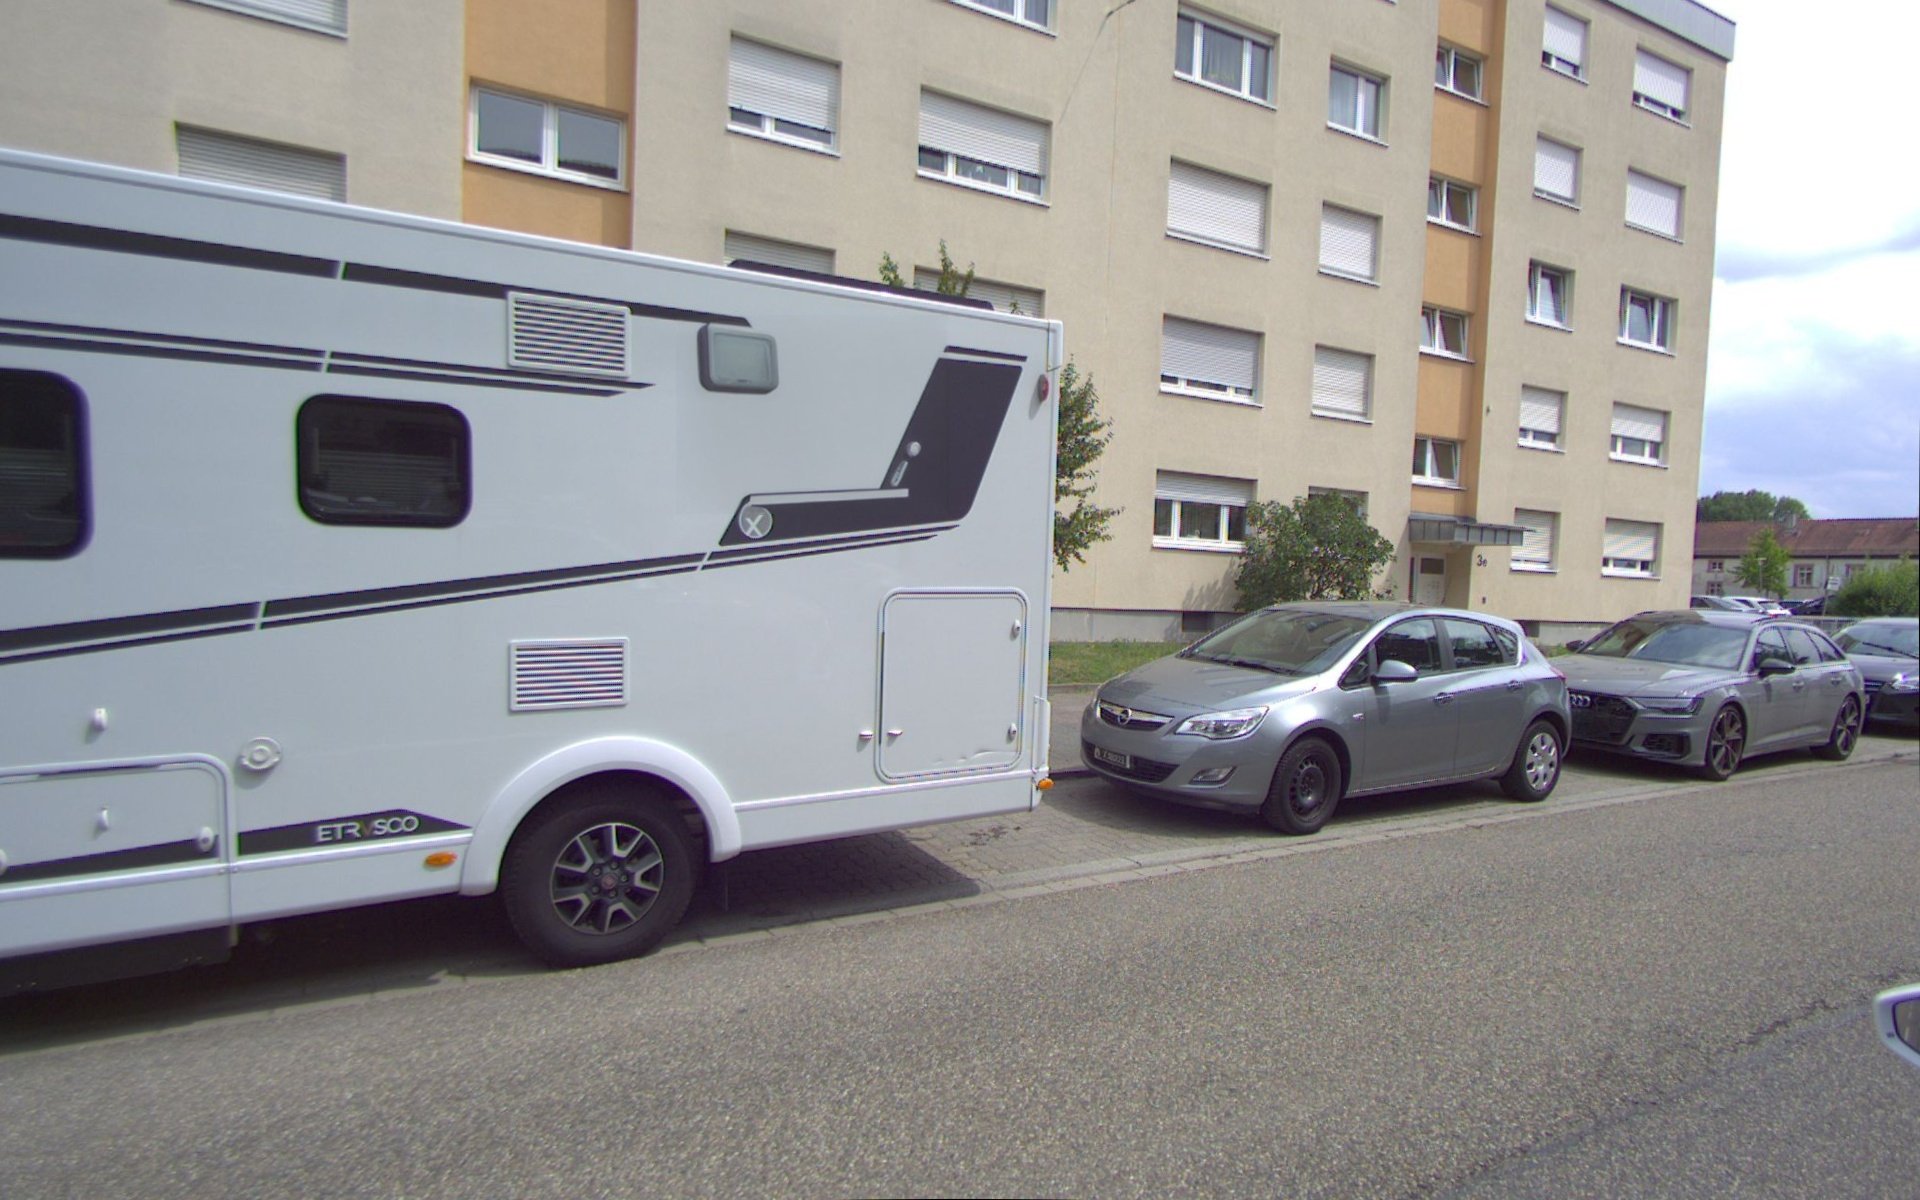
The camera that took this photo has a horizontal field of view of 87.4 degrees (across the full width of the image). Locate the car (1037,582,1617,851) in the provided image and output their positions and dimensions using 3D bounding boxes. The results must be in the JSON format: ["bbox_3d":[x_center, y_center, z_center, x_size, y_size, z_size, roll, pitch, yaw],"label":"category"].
[{"bbox_3d":[2.954,0.716,7.763,4.541,1.516,1.680,1,3,-31],"label":"car"}]

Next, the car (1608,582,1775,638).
[{"bbox_3d":[24.808,0.298,34.227,1.975,1.707,4.155,0,2,-28],"label":"car"}]

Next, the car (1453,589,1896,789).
[{"bbox_3d":[7.646,0.785,10.590,5.160,1.601,1.875,1,3,-32],"label":"car"}]

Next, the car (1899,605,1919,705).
[{"bbox_3d":[17.518,0.963,16.561,4.106,1.601,1.875,1,3,-32],"label":"car"}]

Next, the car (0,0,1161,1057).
[{"bbox_3d":[-2.812,-0.256,4.269,7.311,3.065,2.497,1,3,-31],"label":"car"}]

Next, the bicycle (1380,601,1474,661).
[{"bbox_3d":[8.994,0.587,19.312,2.034,1.100,0.460,0,2,-27],"label":"bicycle"}]

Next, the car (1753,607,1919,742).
[{"bbox_3d":[13.136,0.942,13.934,4.730,1.516,1.732,1,3,-31],"label":"car"}]

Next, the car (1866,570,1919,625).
[{"bbox_3d":[42.805,-0.080,43.863,1.975,2.380,4.390,0,2,-28],"label":"car"}]

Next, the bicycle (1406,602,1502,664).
[{"bbox_3d":[9.233,0.595,18.760,2.034,1.100,0.460,0,2,-27],"label":"bicycle"}]

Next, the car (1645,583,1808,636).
[{"bbox_3d":[27.318,0.301,35.950,1.975,1.707,4.155,0,2,-28],"label":"car"}]

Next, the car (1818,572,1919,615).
[{"bbox_3d":[39.120,-0.301,42.235,1.975,1.707,4.155,0,2,-28],"label":"car"}]
